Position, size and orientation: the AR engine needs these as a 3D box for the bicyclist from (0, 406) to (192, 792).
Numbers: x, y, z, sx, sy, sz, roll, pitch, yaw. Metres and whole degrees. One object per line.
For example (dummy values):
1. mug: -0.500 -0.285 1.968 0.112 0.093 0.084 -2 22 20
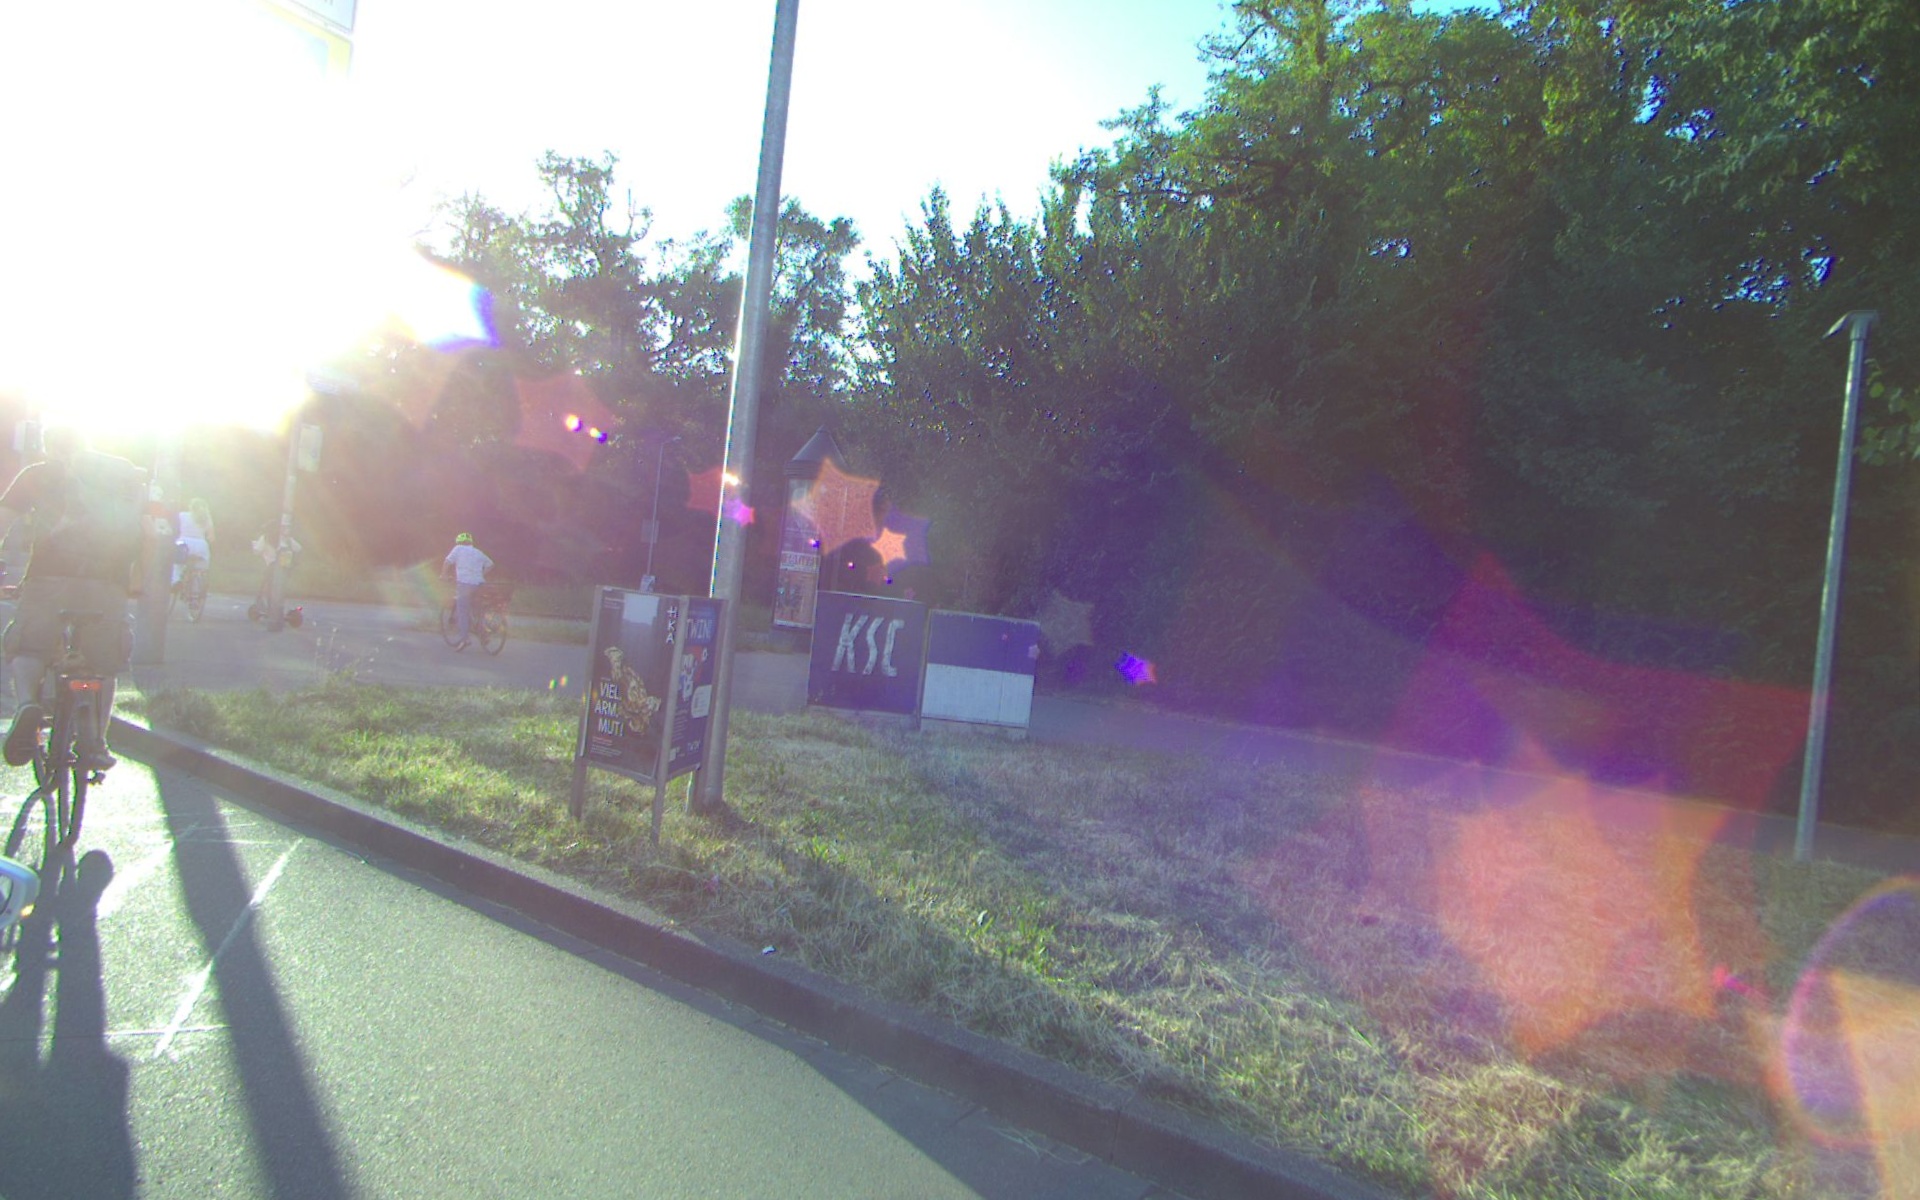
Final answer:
1. bicyclist: -4.346 0.001 4.844 0.786 1.686 0.698 7 -1 38

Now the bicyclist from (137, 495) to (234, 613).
1. bicyclist: -11.056 -0.652 14.365 0.843 1.536 0.760 7 0 35

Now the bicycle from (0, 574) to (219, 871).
1. bicycle: -4.264 0.488 4.742 1.798 1.075 0.698 6 -1 38

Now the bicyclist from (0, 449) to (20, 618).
1. bicyclist: -7.194 -0.305 7.003 0.895 1.605 0.604 7 0 32

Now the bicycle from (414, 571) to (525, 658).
1. bicycle: -6.972 0.192 14.261 1.774 1.027 0.563 7 0 36

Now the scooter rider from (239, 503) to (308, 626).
1. scooter rider: -10.409 -0.531 15.259 0.497 1.788 0.566 6 0 33

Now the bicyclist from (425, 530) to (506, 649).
1. bicyclist: -7.049 -0.154 14.334 0.885 1.589 0.554 7 1 36

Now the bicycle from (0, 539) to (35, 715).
1. bicycle: -7.247 0.087 7.008 1.853 1.151 0.614 7 0 32

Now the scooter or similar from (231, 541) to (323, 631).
1. scooter or similar: -10.301 -0.211 15.166 1.399 1.204 0.562 6 0 33

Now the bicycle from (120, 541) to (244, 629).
1. bicycle: -11.158 -0.229 14.409 1.984 1.019 0.771 7 -1 35
